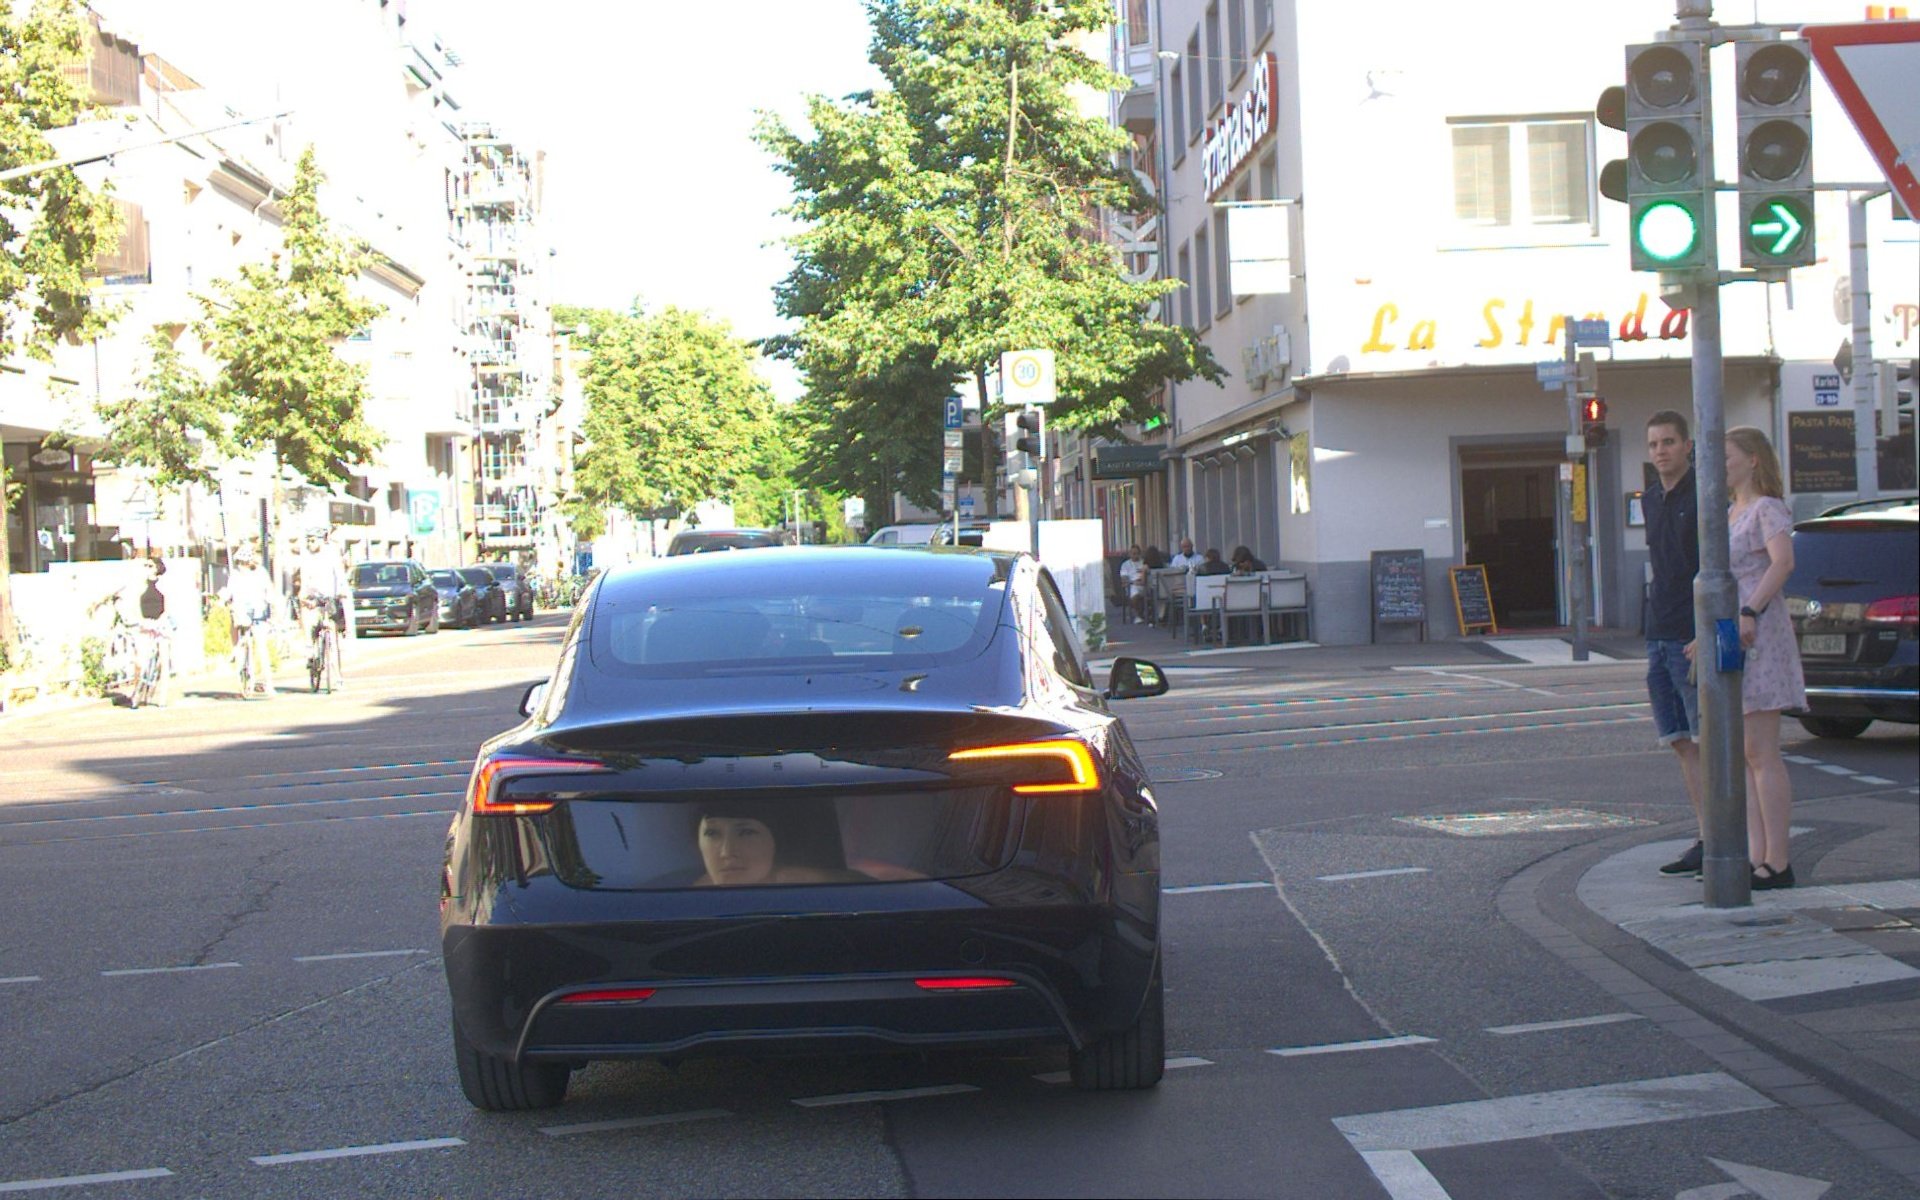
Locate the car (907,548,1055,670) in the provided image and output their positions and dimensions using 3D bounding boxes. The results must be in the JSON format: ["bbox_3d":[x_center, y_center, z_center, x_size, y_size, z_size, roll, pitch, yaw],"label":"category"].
[{"bbox_3d":[0.255,0.097,49.885,2.001,1.630,4.288,-2,1,-1],"label":"car"}]

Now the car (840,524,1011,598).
[{"bbox_3d":[-1.141,-1.274,111.600,5.391,2.138,2.000,-3,0,-2],"label":"car"}]

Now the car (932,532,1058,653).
[{"bbox_3d":[0.535,-0.139,56.315,1.904,1.846,4.288,-2,1,-1],"label":"car"}]

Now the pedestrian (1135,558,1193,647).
[{"bbox_3d":[3.184,0.034,53.736,0.730,1.343,1.060,-3,0,-3],"label":"pedestrian"}]

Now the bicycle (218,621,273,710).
[{"bbox_3d":[-8.254,0.744,39.689,0.552,0.965,1.795,-3,0,-13],"label":"bicycle"}]

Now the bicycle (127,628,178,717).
[{"bbox_3d":[-9.146,0.812,38.928,0.480,0.952,1.456,-3,0,-15],"label":"bicycle"}]

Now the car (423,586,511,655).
[{"bbox_3d":[-12.275,0.497,85.746,1.718,1.604,3.597,-2,1,-2],"label":"car"}]

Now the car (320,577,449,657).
[{"bbox_3d":[-12.171,0.332,72.933,1.993,1.592,4.000,-1,1,0],"label":"car"}]

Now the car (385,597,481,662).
[{"bbox_3d":[-12.345,0.668,80.666,1.786,1.398,3.906,-2,0,-3],"label":"car"}]

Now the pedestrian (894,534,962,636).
[{"bbox_3d":[-0.610,-0.299,66.342,0.958,1.909,1.104,-2,0,15],"label":"pedestrian"}]

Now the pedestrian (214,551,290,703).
[{"bbox_3d":[-8.171,0.307,39.674,0.778,1.722,0.559,-2,0,-15],"label":"pedestrian"}]

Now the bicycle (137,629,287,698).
[{"bbox_3d":[-11.559,0.970,53.152,2.219,0.955,0.656,-2,0,-13],"label":"bicycle"}]

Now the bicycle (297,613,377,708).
[{"bbox_3d":[-7.212,0.690,39.732,0.758,1.004,1.726,-5,1,-13],"label":"bicycle"}]

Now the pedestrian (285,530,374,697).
[{"bbox_3d":[-7.305,0.151,39.804,0.778,1.860,1.002,-5,1,-15],"label":"pedestrian"}]

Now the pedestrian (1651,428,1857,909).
[{"bbox_3d":[2.982,0.247,12.946,0.572,1.753,0.649,-1,0,-1],"label":"pedestrian"}]

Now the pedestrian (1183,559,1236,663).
[{"bbox_3d":[3.208,0.139,44.239,0.586,1.308,0.560,-3,0,-1],"label":"pedestrian"}]

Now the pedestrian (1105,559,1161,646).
[{"bbox_3d":[2.761,0.037,54.841,0.709,1.343,1.060,-3,0,-4],"label":"pedestrian"}]

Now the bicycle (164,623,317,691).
[{"bbox_3d":[-11.716,0.924,56.036,2.396,1.002,0.656,-2,0,-12],"label":"bicycle"}]

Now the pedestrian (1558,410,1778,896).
[{"bbox_3d":[2.768,0.198,13.487,0.640,1.835,0.681,-2,0,-1],"label":"pedestrian"}]

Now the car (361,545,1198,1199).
[{"bbox_3d":[-0.416,0.595,10.076,1.869,1.422,4.364,-2,1,0],"label":"car"}]

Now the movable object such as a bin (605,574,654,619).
[{"bbox_3d":[-10.697,-0.117,111.191,1.308,1.403,1.071,-3,1,-18],"label":"movable object such as a bin"}]

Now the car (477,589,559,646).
[{"bbox_3d":[-11.623,0.438,90.605,1.786,1.398,3.906,-2,0,-3],"label":"car"}]

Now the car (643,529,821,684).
[{"bbox_3d":[-2.724,0.053,41.930,1.904,1.727,4.288,-2,1,-1],"label":"car"}]

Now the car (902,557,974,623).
[{"bbox_3d":[-0.644,-0.298,99.872,1.993,1.818,4.000,-1,0,0],"label":"car"}]

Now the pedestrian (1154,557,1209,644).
[{"bbox_3d":[3.540,0.001,55.009,0.730,1.356,0.959,-3,0,-1],"label":"pedestrian"}]

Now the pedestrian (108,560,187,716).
[{"bbox_3d":[-9.116,0.417,38.573,0.790,1.706,0.654,-2,0,-16],"label":"pedestrian"}]

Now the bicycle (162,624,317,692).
[{"bbox_3d":[-11.562,0.928,55.203,2.388,0.974,0.656,-2,0,-11],"label":"bicycle"}]

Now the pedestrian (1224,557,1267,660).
[{"bbox_3d":[3.746,0.110,45.024,0.488,1.317,0.653,-3,0,6],"label":"pedestrian"}]

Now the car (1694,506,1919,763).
[{"bbox_3d":[6.422,0.148,20.780,4.343,1.414,1.766,-2,0,-45],"label":"car"}]
